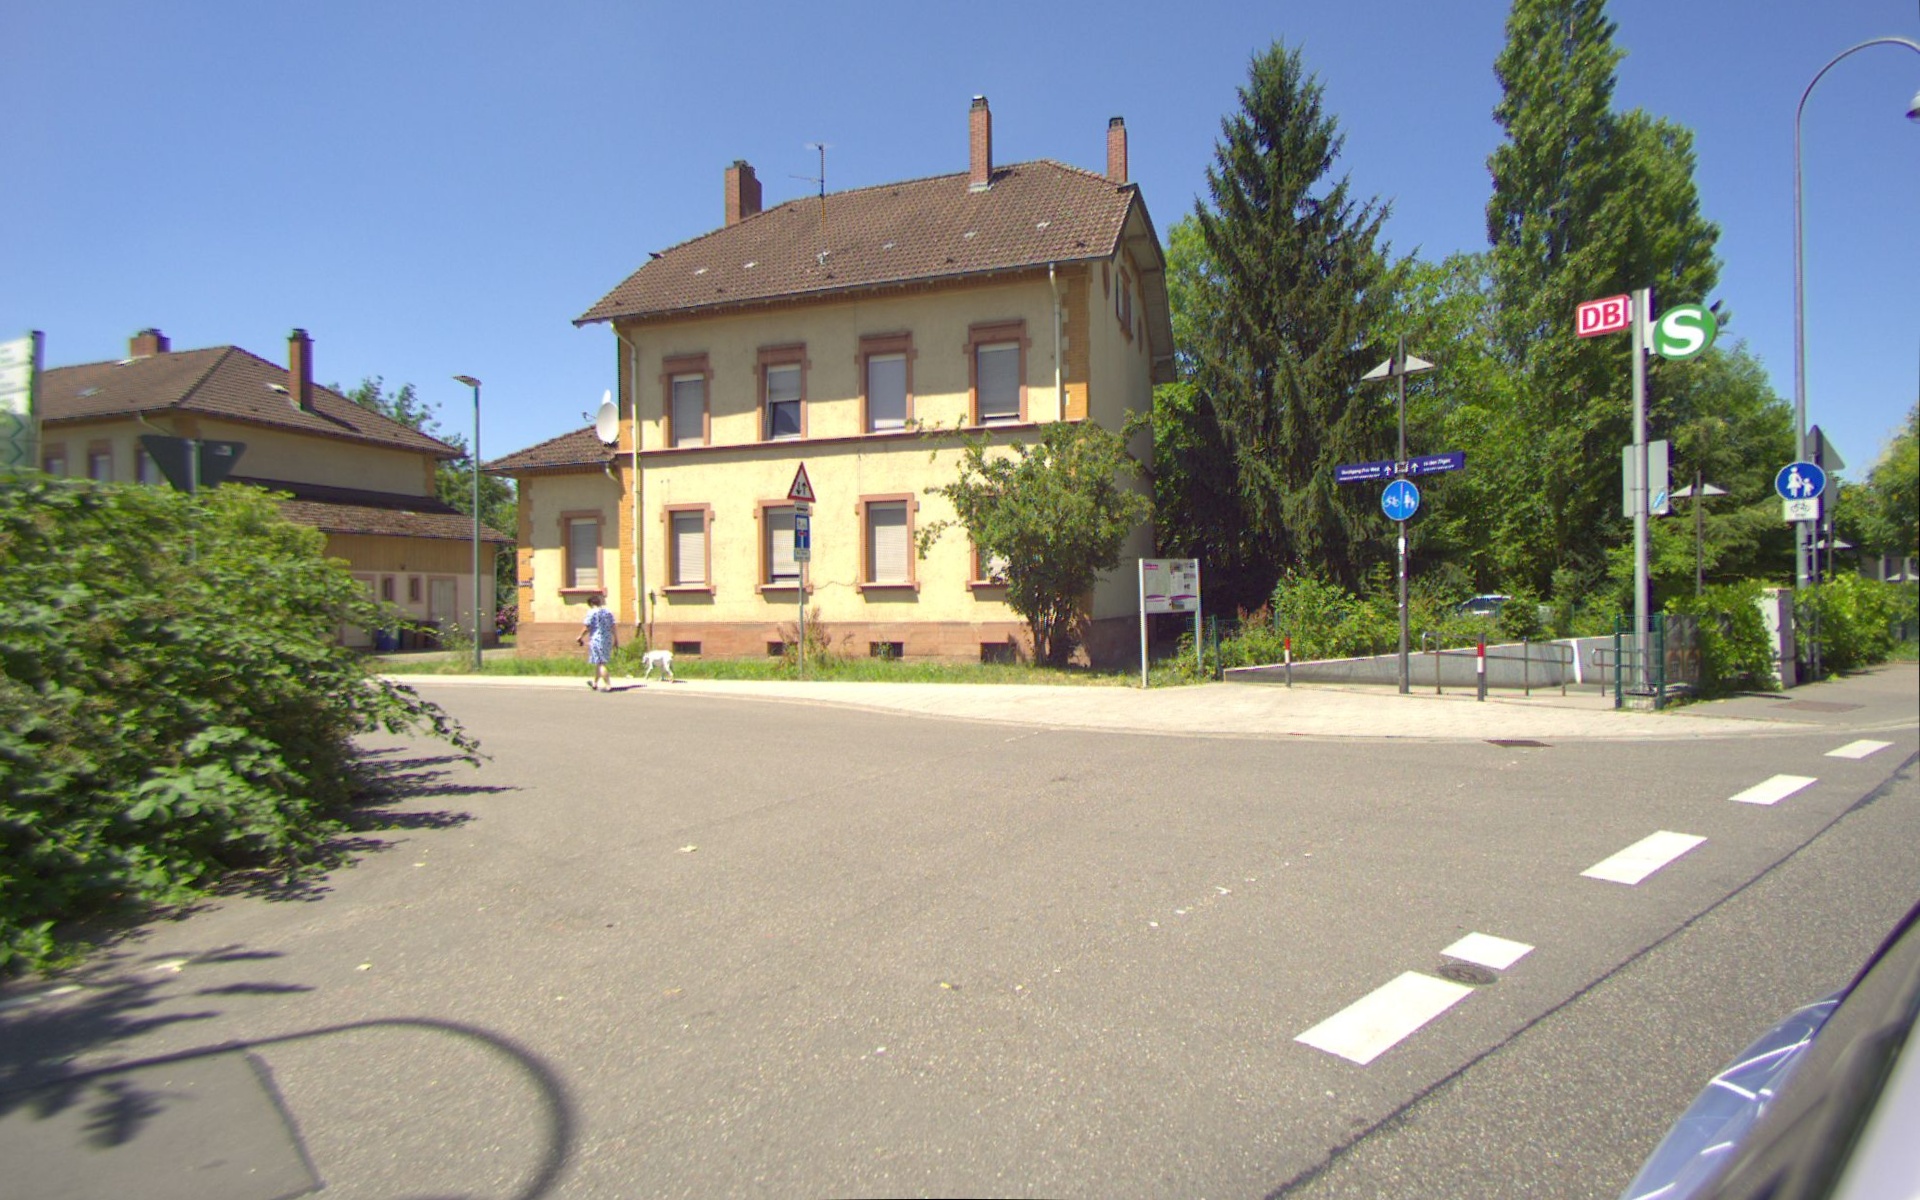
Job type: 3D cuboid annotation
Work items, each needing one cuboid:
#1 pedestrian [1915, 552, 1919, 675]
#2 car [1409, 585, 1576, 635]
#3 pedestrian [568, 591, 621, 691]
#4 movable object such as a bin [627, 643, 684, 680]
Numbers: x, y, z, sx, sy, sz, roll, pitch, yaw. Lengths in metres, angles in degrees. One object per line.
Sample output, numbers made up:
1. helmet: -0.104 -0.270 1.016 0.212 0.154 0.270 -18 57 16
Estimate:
1. pedestrian: 14.557 0.208 14.511 0.896 1.794 0.917 -1 2 -21
2. car: 16.860 0.330 32.293 4.443 1.518 1.758 -1 0 20
3. pedestrian: -6.284 0.685 17.391 0.687 1.648 0.616 -1 0 -38
4. movable object such as a bin: -5.585 1.115 18.538 0.508 0.602 1.239 0 0 -44
